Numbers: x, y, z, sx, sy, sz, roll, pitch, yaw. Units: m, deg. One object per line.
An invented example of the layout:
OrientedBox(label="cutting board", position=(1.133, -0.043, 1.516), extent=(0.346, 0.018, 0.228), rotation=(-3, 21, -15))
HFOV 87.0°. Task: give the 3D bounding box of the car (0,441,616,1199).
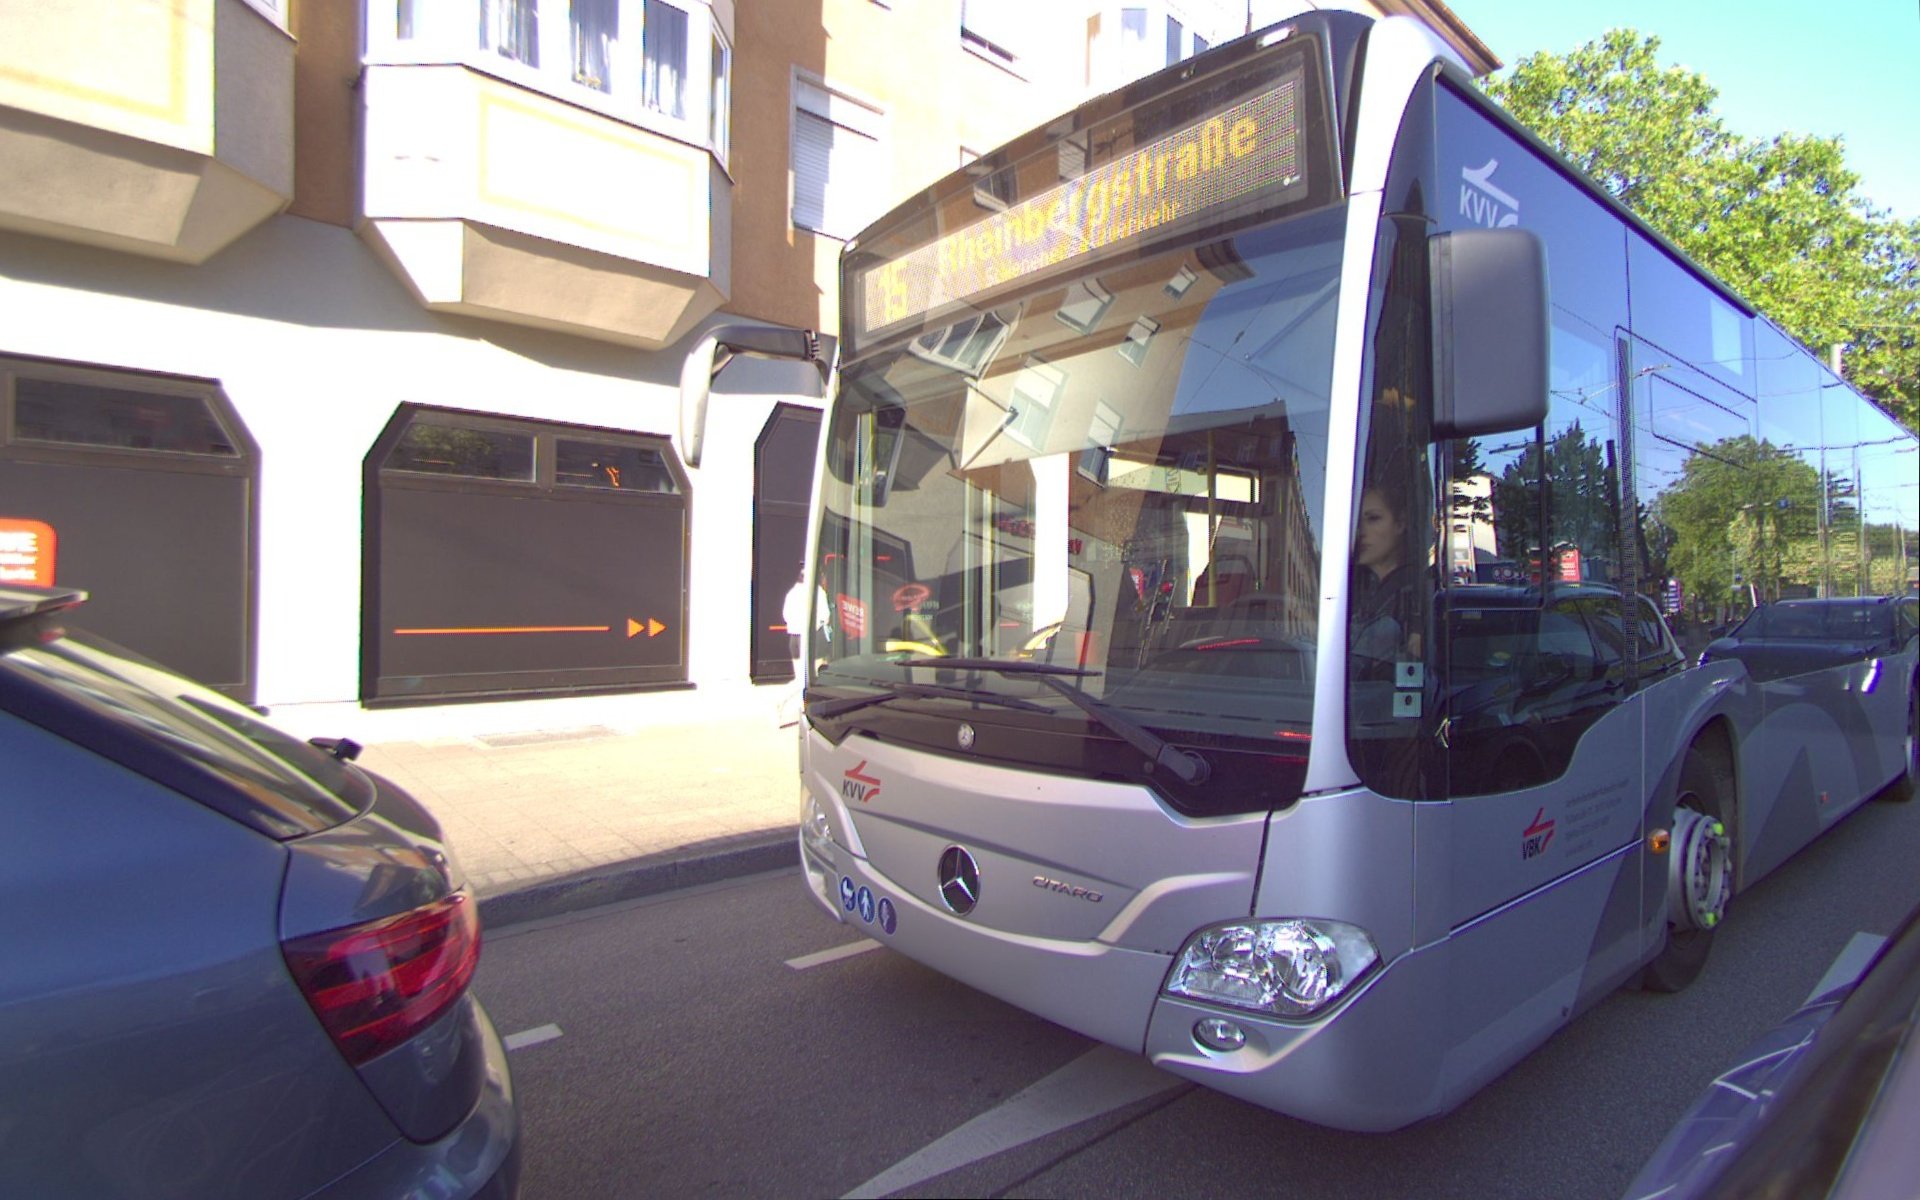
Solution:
OrientedBox(label="car", position=(-2.577, 0.632, 0.639), extent=(4.151, 1.572, 1.700), rotation=(0, 0, -41))

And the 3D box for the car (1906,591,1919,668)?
OrientedBox(label="car", position=(22.425, 0.625, 22.511), extent=(3.759, 1.628, 1.747), rotation=(-1, 0, -43))

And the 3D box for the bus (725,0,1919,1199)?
OrientedBox(label="bus", position=(6.521, -0.192, 8.718), extent=(17.432, 3.189, 2.771), rotation=(0, 1, -41))

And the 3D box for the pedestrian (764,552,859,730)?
OrientedBox(label="pedestrian", position=(-1.402, 0.360, 9.568), extent=(0.656, 1.603, 0.580), rotation=(0, 1, -40))
